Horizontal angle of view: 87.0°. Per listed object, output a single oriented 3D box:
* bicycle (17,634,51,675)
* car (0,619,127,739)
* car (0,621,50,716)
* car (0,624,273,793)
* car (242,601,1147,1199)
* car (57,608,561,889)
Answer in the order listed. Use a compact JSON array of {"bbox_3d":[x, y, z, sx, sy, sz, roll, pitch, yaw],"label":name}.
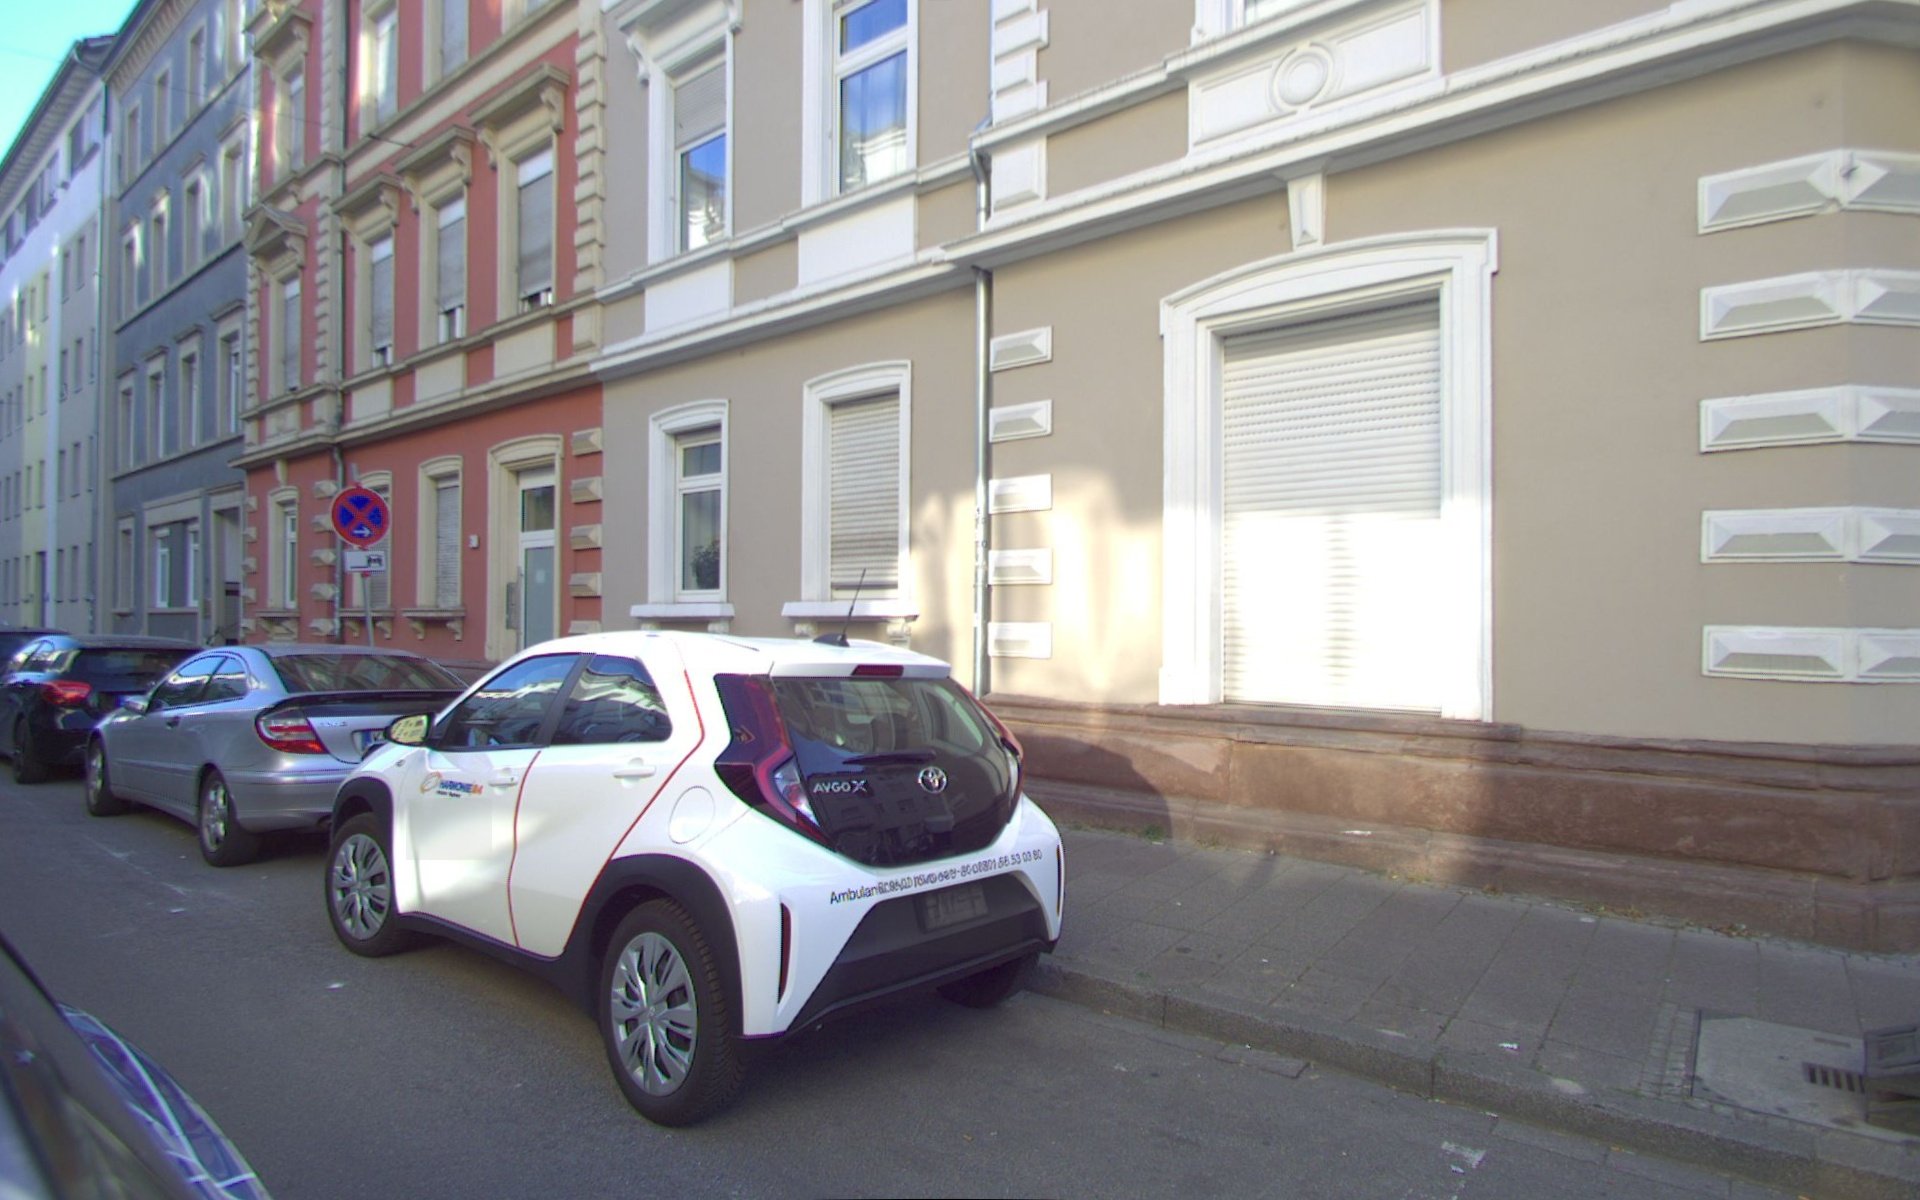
[{"bbox_3d":[-25.662,1.484,28.033,1.750,1.082,0.446,-1,-1,39],"label":"bicycle"},{"bbox_3d":[-14.046,1.095,14.832,4.234,1.572,1.883,-1,-4,38],"label":"car"},{"bbox_3d":[-17.826,1.158,17.814,4.260,1.572,1.902,-1,-4,38],"label":"car"},{"bbox_3d":[-9.427,1.058,11.051,4.260,1.495,1.902,-1,-4,38],"label":"car"},{"bbox_3d":[-1.491,0.863,4.663,4.263,1.519,1.901,-2,-4,40],"label":"car"},{"bbox_3d":[-5.133,0.930,7.786,4.260,1.572,1.902,-1,-4,38],"label":"car"}]
